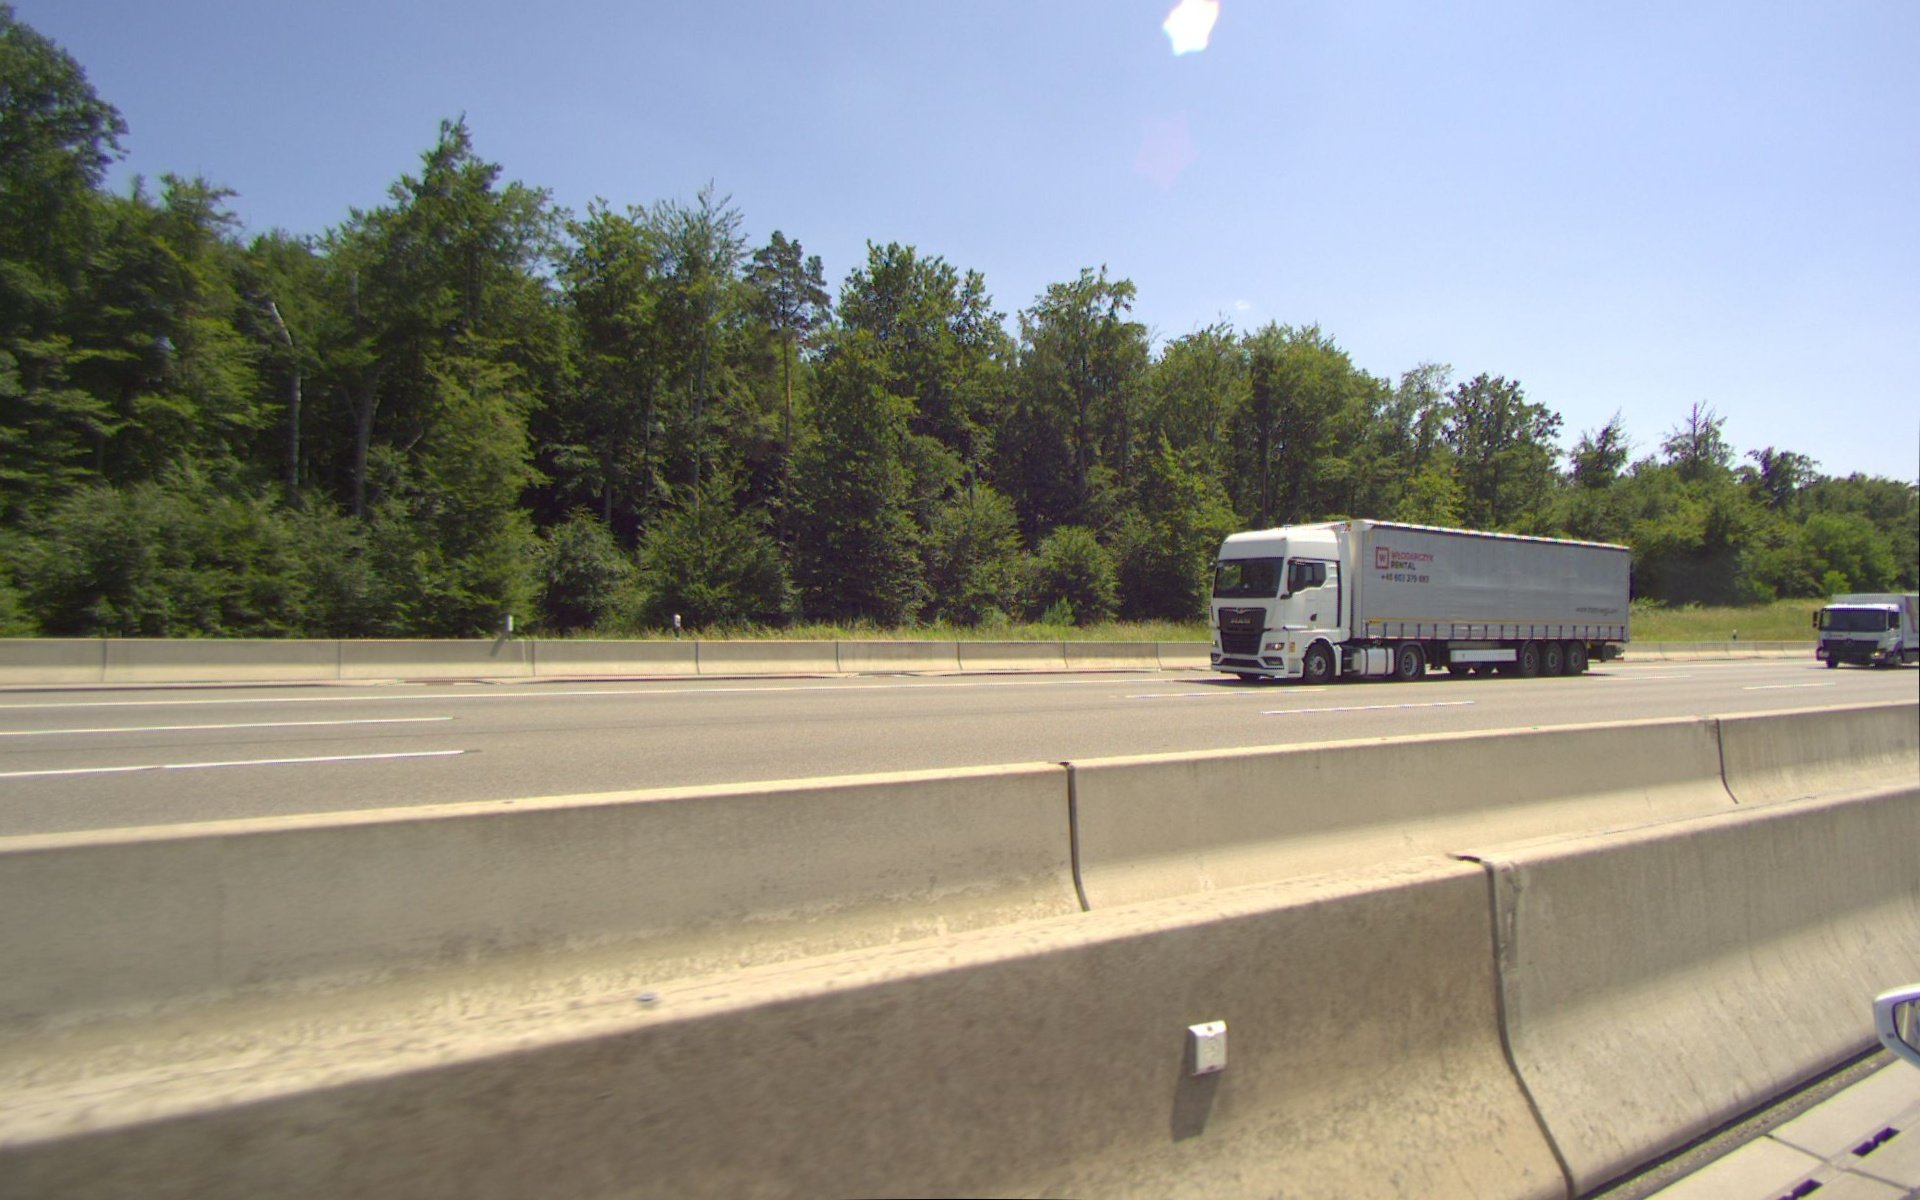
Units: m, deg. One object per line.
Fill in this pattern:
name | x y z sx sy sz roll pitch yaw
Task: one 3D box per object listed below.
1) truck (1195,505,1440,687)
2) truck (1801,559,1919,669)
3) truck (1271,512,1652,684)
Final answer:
truck | 9.333 -0.027 26.070 6.159 4.233 2.669 1 -1 -31
truck | 38.839 0.642 42.063 9.506 4.233 2.519 1 -1 -30
truck | 15.258 0.109 29.596 14.341 4.233 2.744 1 -1 -31
